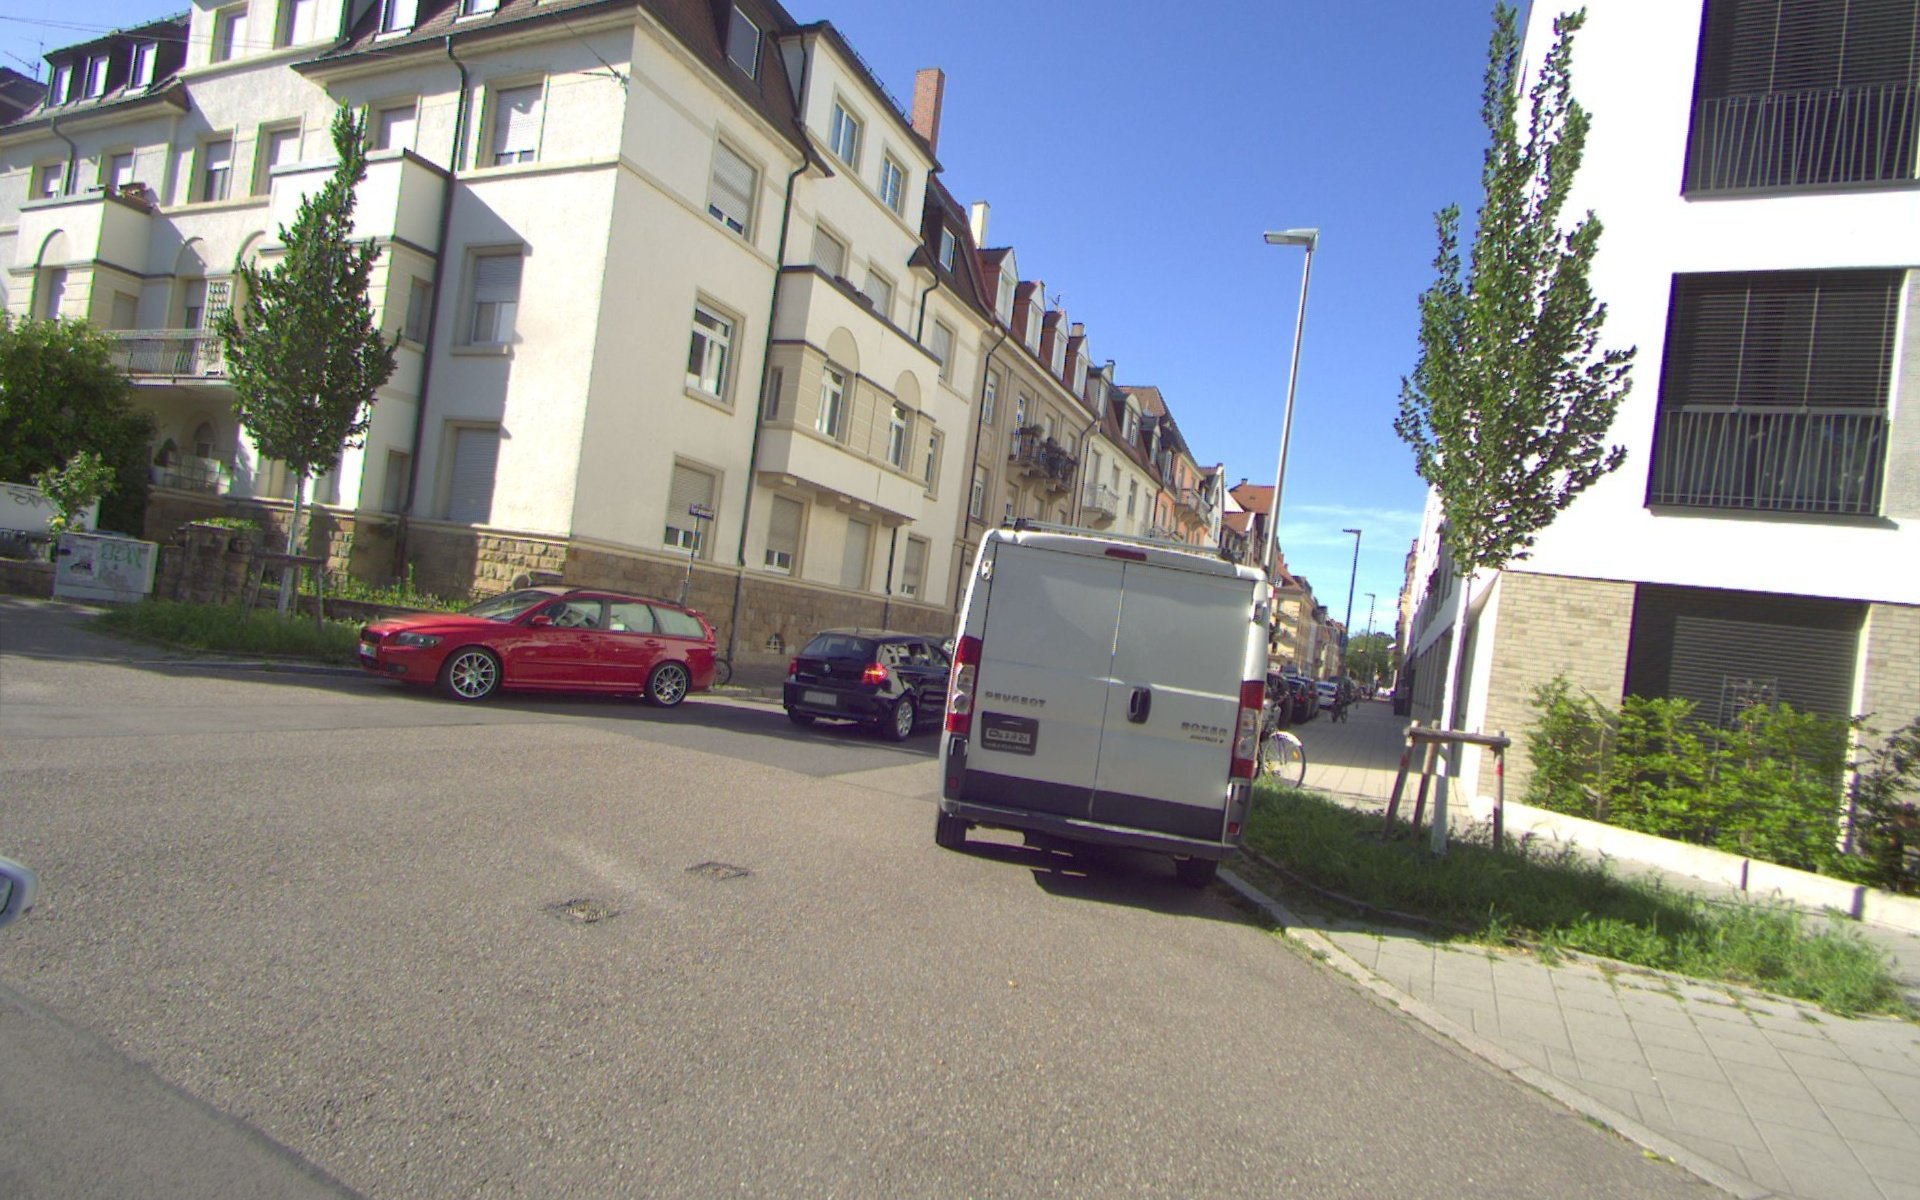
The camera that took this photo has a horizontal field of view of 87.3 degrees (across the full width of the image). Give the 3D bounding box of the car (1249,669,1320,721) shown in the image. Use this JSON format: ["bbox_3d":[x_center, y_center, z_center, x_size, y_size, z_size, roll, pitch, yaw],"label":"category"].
[{"bbox_3d":[11.800,3.445,36.352,1.929,1.485,4.533,7,-3,23],"label":"car"}]

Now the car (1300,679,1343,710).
[{"bbox_3d":[20.937,5.498,58.153,1.929,1.485,4.533,7,-3,23],"label":"car"}]

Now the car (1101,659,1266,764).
[{"bbox_3d":[4.434,2.079,19.277,1.926,1.445,4.944,9,-1,25],"label":"car"}]

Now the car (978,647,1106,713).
[{"bbox_3d":[2.436,2.302,28.395,1.795,1.486,4.944,7,-2,26],"label":"car"}]

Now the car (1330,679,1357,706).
[{"bbox_3d":[33.426,8.102,87.612,1.929,2.021,4.533,7,-3,23],"label":"car"}]

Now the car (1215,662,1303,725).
[{"bbox_3d":[9.029,2.821,30.119,1.929,1.485,4.533,7,-3,23],"label":"car"}]

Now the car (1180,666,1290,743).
[{"bbox_3d":[7.043,2.635,25.366,1.929,1.485,4.948,7,-3,23],"label":"car"}]

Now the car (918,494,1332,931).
[{"bbox_3d":[1.084,0.748,8.534,2.193,2.333,5.060,7,-1,3],"label":"car"}]

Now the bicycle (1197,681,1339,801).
[{"bbox_3d":[3.789,1.709,12.574,0.652,1.187,1.988,8,-2,-14],"label":"bicycle"}]

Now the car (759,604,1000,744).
[{"bbox_3d":[-0.988,1.040,14.572,1.755,1.542,4.000,7,-1,22],"label":"car"}]

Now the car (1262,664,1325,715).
[{"bbox_3d":[13.671,3.677,41.034,1.929,1.704,4.533,7,-3,23],"label":"car"}]

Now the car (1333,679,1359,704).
[{"bbox_3d":[35.861,8.501,93.320,1.929,2.021,4.533,7,-3,23],"label":"car"}]

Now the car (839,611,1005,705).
[{"bbox_3d":[-0.707,1.311,22.011,1.801,1.660,4.185,7,-2,24],"label":"car"}]

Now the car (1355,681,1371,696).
[{"bbox_3d":[60.829,13.361,151.876,1.963,1.878,4.004,7,-3,20],"label":"car"}]

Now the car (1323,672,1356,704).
[{"bbox_3d":[28.075,6.550,74.265,1.929,2.021,4.533,7,-3,23],"label":"car"}]

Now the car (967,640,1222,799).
[{"bbox_3d":[2.067,1.518,13.678,2.011,1.486,4.944,7,-2,24],"label":"car"}]

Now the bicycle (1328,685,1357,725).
[{"bbox_3d":[13.973,3.834,36.719,0.424,1.338,1.825,6,-2,35],"label":"bicycle"}]

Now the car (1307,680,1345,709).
[{"bbox_3d":[23.180,6.021,63.669,1.929,1.485,4.533,7,-3,23],"label":"car"}]

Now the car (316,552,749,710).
[{"bbox_3d":[-5.283,0.494,13.047,1.925,1.486,4.716,6,-2,40],"label":"car"}]
